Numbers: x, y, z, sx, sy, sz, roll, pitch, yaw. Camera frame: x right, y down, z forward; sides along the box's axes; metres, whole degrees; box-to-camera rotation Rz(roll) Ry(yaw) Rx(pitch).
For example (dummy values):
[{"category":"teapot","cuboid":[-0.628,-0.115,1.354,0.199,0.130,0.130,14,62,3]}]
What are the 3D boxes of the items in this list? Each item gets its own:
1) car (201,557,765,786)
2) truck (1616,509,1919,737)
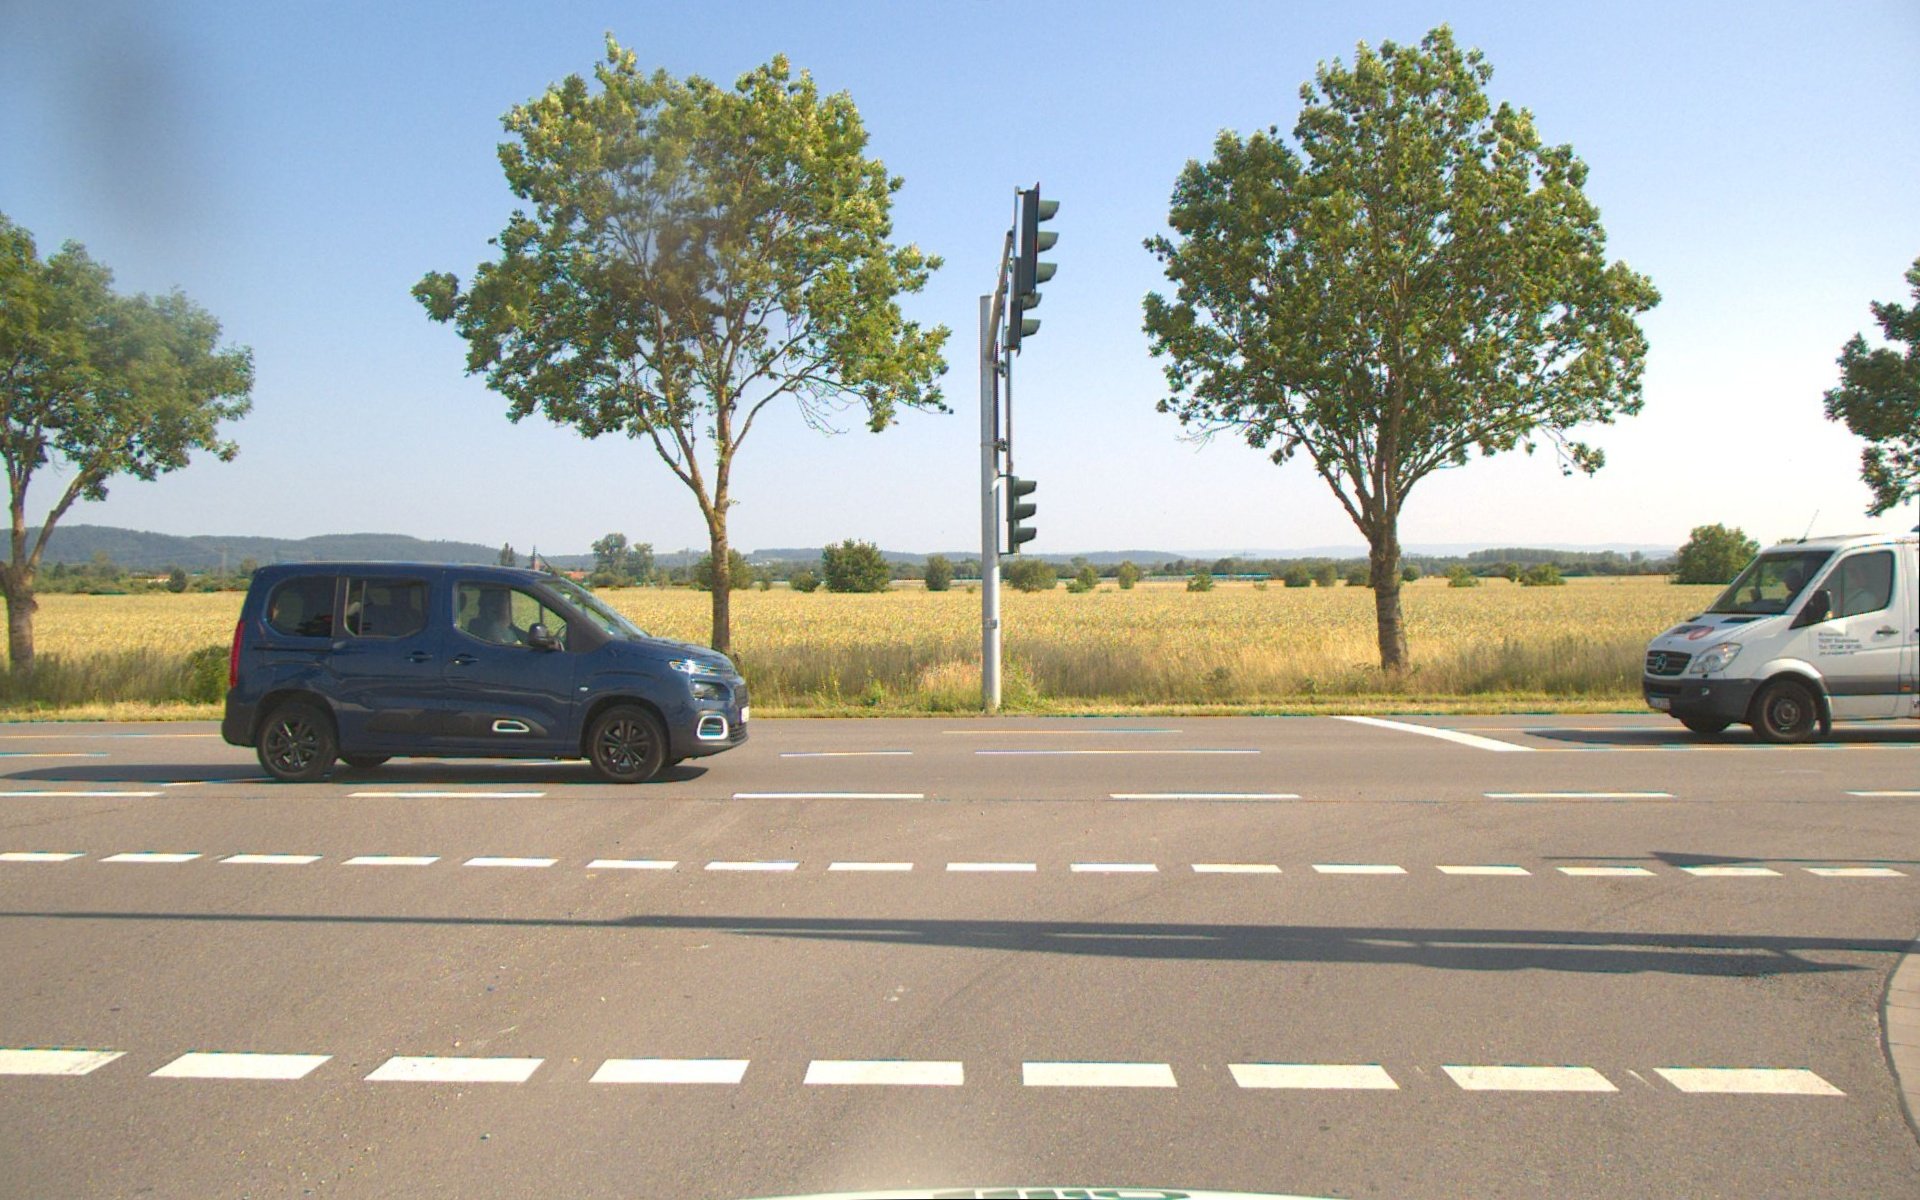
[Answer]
[{"category":"car","cuboid":[-4.007,0.595,14.438,4.361,1.866,1.845,0,-1,0]},{"category":"truck","cuboid":[10.951,0.241,18.962,6.053,2.447,2.070,0,-1,-2]}]
